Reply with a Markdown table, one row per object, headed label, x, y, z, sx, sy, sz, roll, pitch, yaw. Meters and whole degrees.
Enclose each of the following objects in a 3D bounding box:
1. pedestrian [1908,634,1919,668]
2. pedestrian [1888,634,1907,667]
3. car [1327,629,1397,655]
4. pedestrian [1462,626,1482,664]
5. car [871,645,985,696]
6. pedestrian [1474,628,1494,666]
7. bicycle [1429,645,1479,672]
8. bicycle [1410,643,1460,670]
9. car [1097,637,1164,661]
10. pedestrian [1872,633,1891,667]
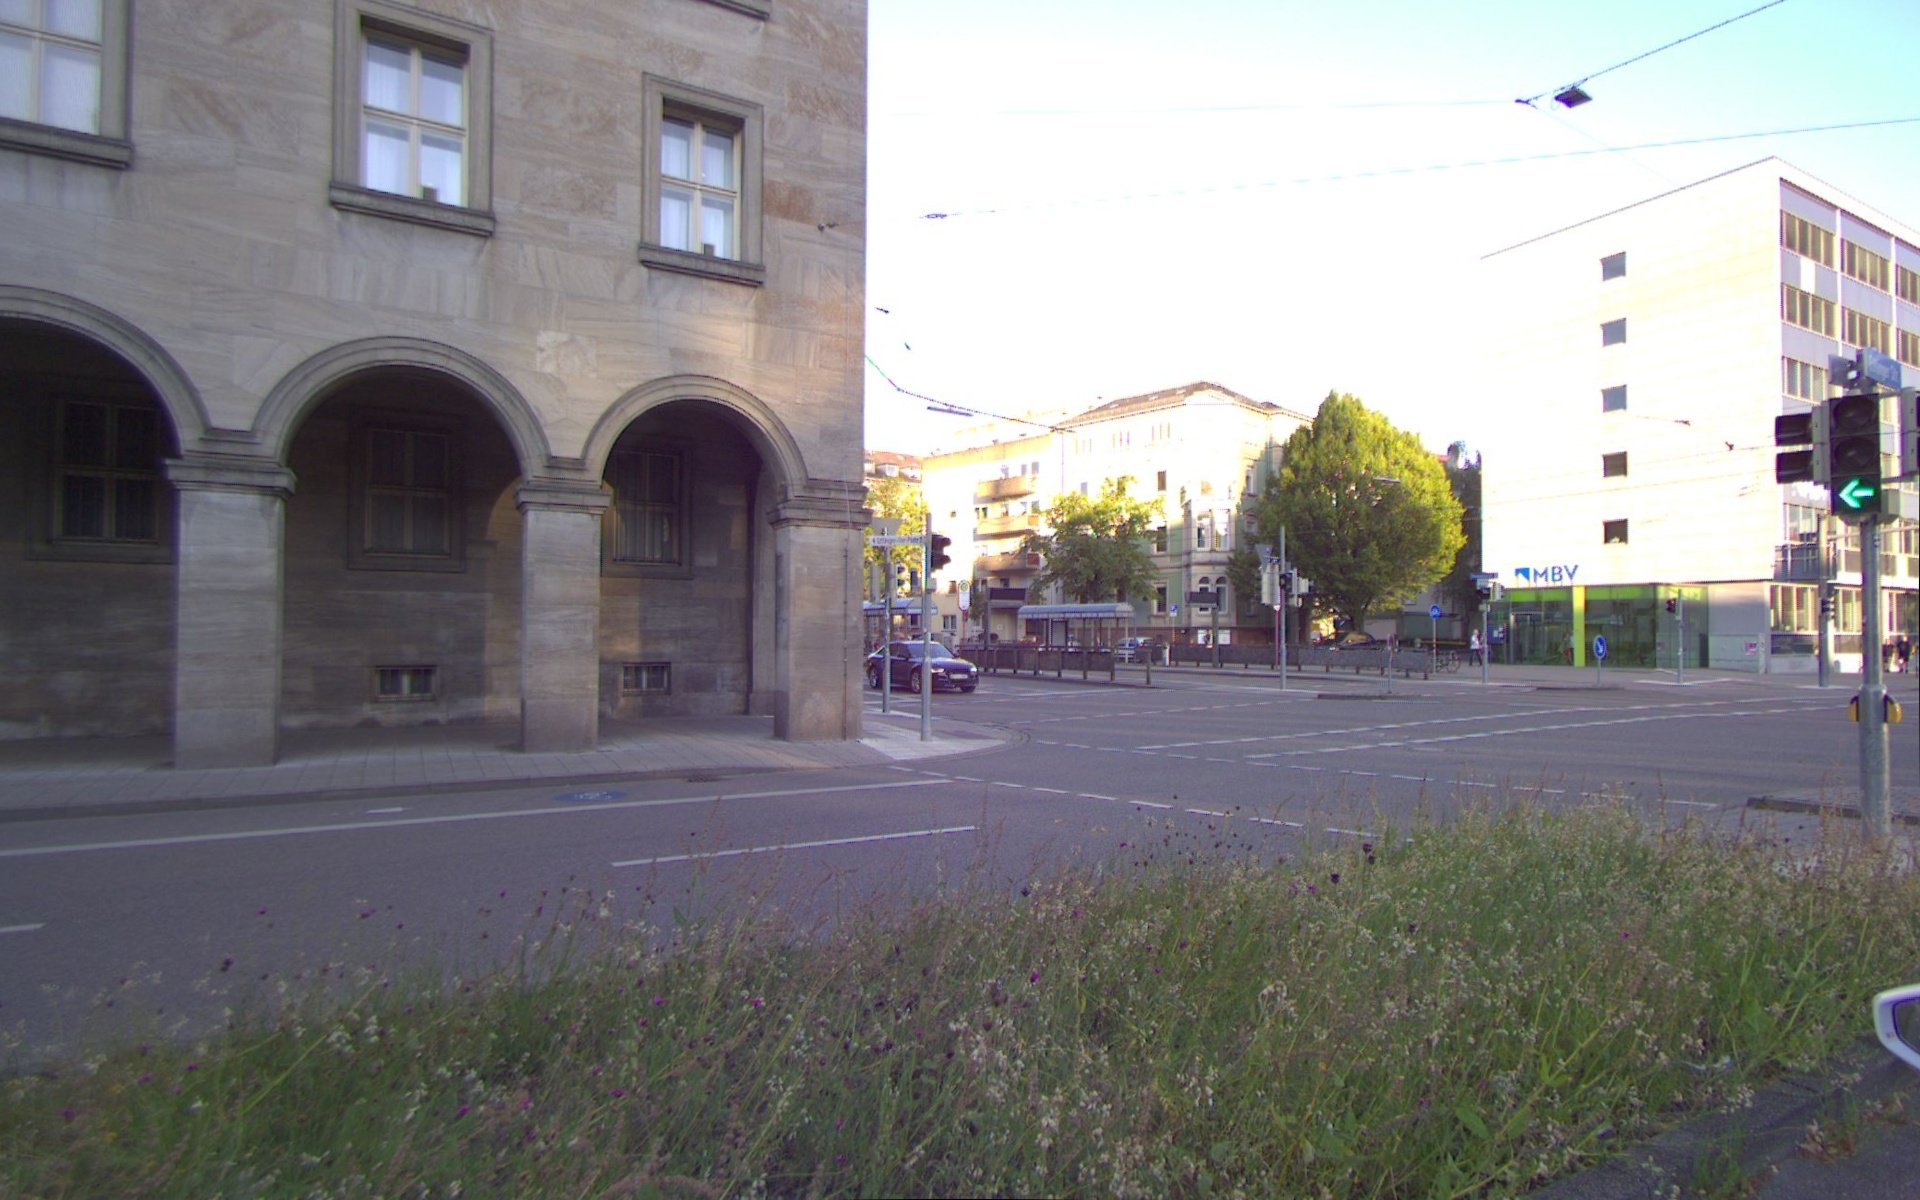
| label | x | y | z | sx | sy | sz | roll | pitch | yaw |
| --- | --- | --- | --- | --- | --- | --- | --- | --- | --- |
| pedestrian | 48.059 | 2.551 | 50.440 | 0.494 | 1.701 | 0.498 | 1 | -2 | -30 |
| pedestrian | 47.708 | 2.559 | 51.106 | 0.494 | 1.701 | 0.549 | 1 | -2 | -30 |
| car | 22.029 | 2.284 | 55.015 | 3.553 | 1.390 | 1.826 | 1 | -2 | -32 |
| pedestrian | 24.474 | 2.143 | 48.017 | 0.718 | 1.813 | 0.634 | 2 | -2 | -44 |
| car | -1.022 | 2.017 | 29.656 | 1.791 | 1.344 | 4.120 | 1 | -2 | -27 |
| pedestrian | 25.230 | 2.239 | 48.327 | 0.718 | 1.813 | 0.634 | 2 | -2 | -43 |
| bicycle | 21.482 | 2.525 | 43.675 | 2.183 | 1.127 | 0.834 | 1 | -2 | -26 |
| bicycle | 20.999 | 2.489 | 44.426 | 2.183 | 1.127 | 0.834 | 1 | -2 | -26 |
| car | 10.019 | 2.855 | 59.099 | 3.545 | 1.390 | 1.831 | -2 | -3 | 45 |
| pedestrian | 46.870 | 2.533 | 51.098 | 0.494 | 1.701 | 0.549 | 1 | -2 | -30 |
